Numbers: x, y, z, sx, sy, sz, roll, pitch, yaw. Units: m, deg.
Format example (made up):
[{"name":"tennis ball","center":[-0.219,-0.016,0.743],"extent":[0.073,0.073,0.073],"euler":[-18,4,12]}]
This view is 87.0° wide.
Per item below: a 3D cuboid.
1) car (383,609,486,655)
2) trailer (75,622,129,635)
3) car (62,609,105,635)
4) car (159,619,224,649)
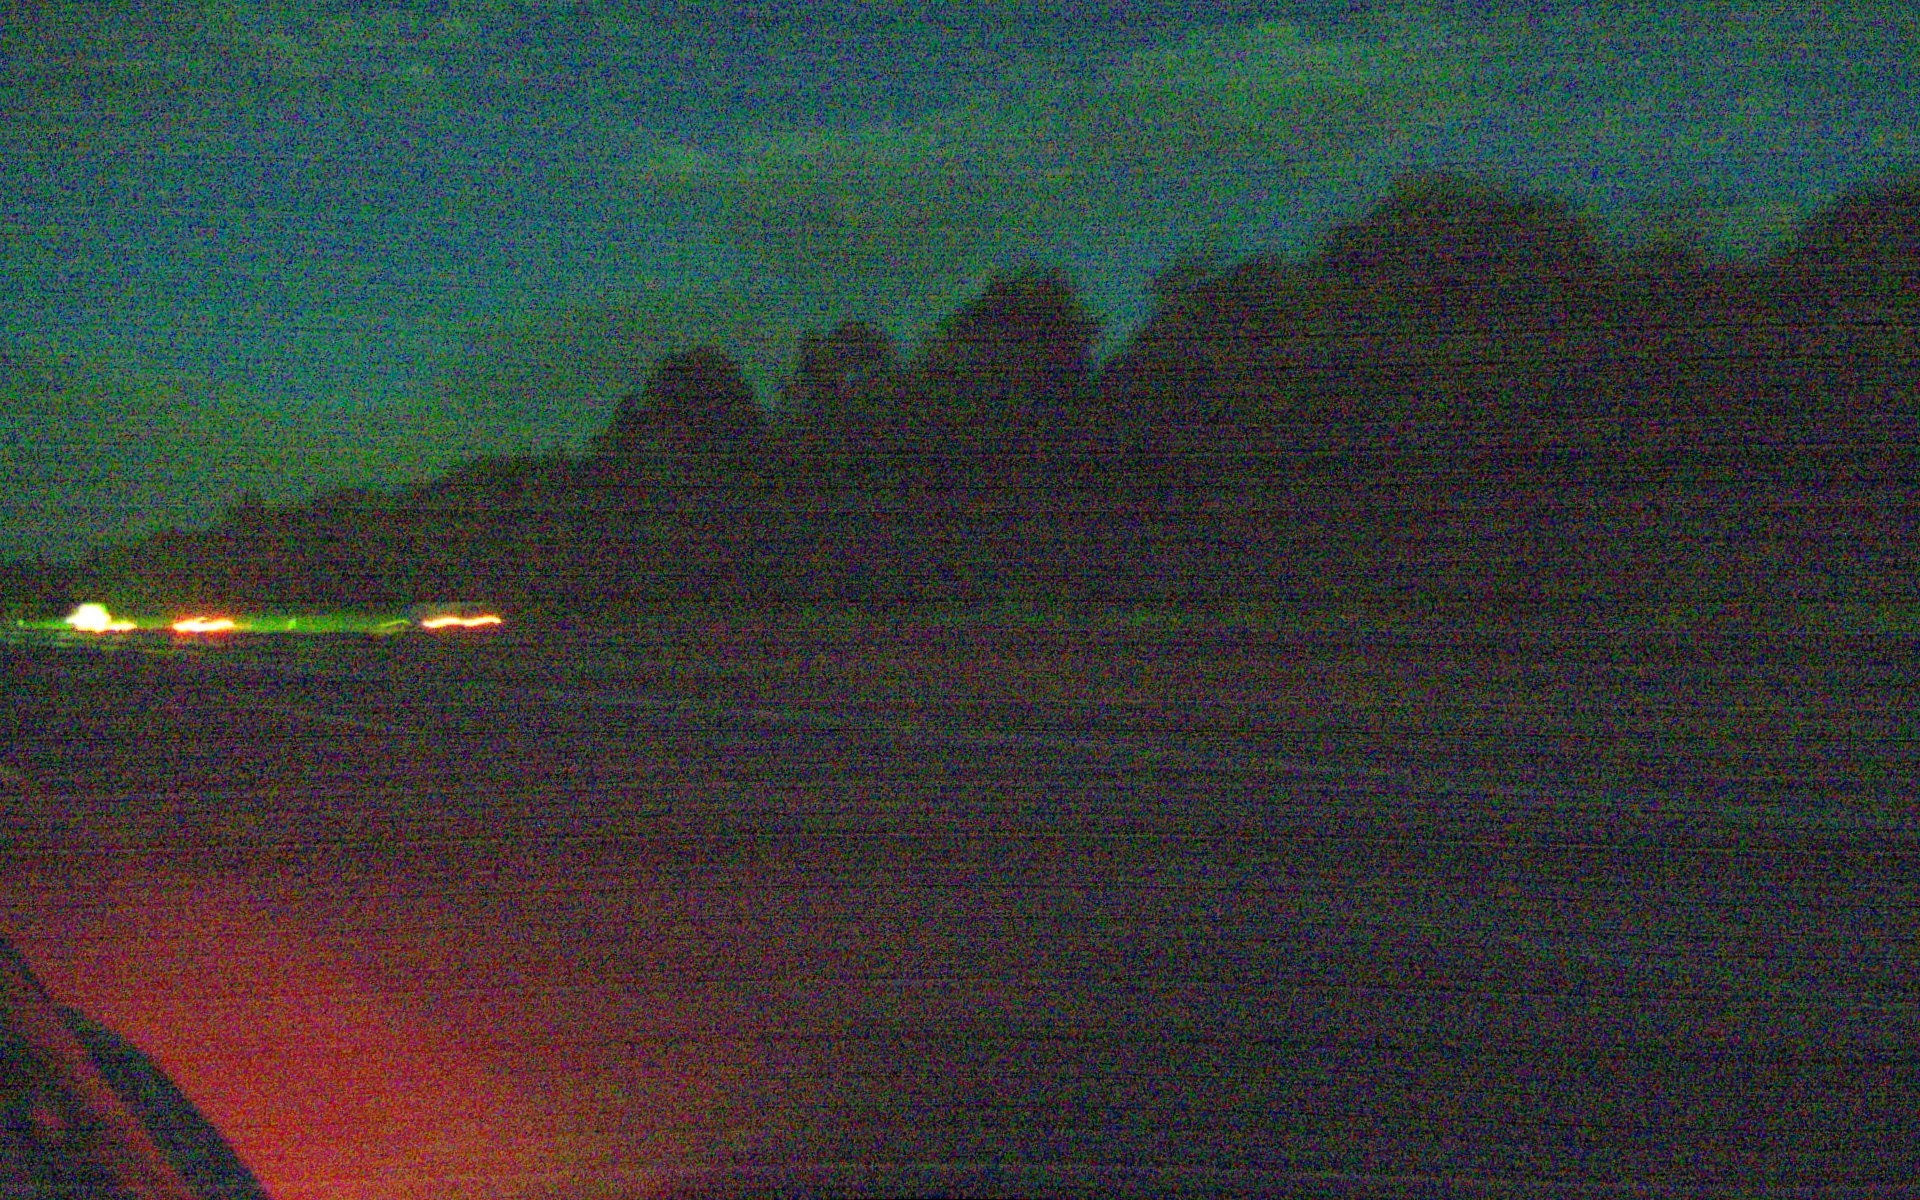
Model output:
[{"name":"car","center":[-22.609,1.309,43.438],"extent":[5.684,1.835,1.973],"euler":[-1,-1,41]},{"name":"trailer","center":[-82.120,2.747,96.845],"extent":[8.065,1.112,2.392],"euler":[-1,0,38]},{"name":"car","center":[-87.738,2.143,101.277],"extent":[6.233,2.506,2.062],"euler":[-1,-1,38]},{"name":"car","center":[-41.072,1.793,54.079],"extent":[4.270,1.516,1.884],"euler":[-1,-1,40]}]
